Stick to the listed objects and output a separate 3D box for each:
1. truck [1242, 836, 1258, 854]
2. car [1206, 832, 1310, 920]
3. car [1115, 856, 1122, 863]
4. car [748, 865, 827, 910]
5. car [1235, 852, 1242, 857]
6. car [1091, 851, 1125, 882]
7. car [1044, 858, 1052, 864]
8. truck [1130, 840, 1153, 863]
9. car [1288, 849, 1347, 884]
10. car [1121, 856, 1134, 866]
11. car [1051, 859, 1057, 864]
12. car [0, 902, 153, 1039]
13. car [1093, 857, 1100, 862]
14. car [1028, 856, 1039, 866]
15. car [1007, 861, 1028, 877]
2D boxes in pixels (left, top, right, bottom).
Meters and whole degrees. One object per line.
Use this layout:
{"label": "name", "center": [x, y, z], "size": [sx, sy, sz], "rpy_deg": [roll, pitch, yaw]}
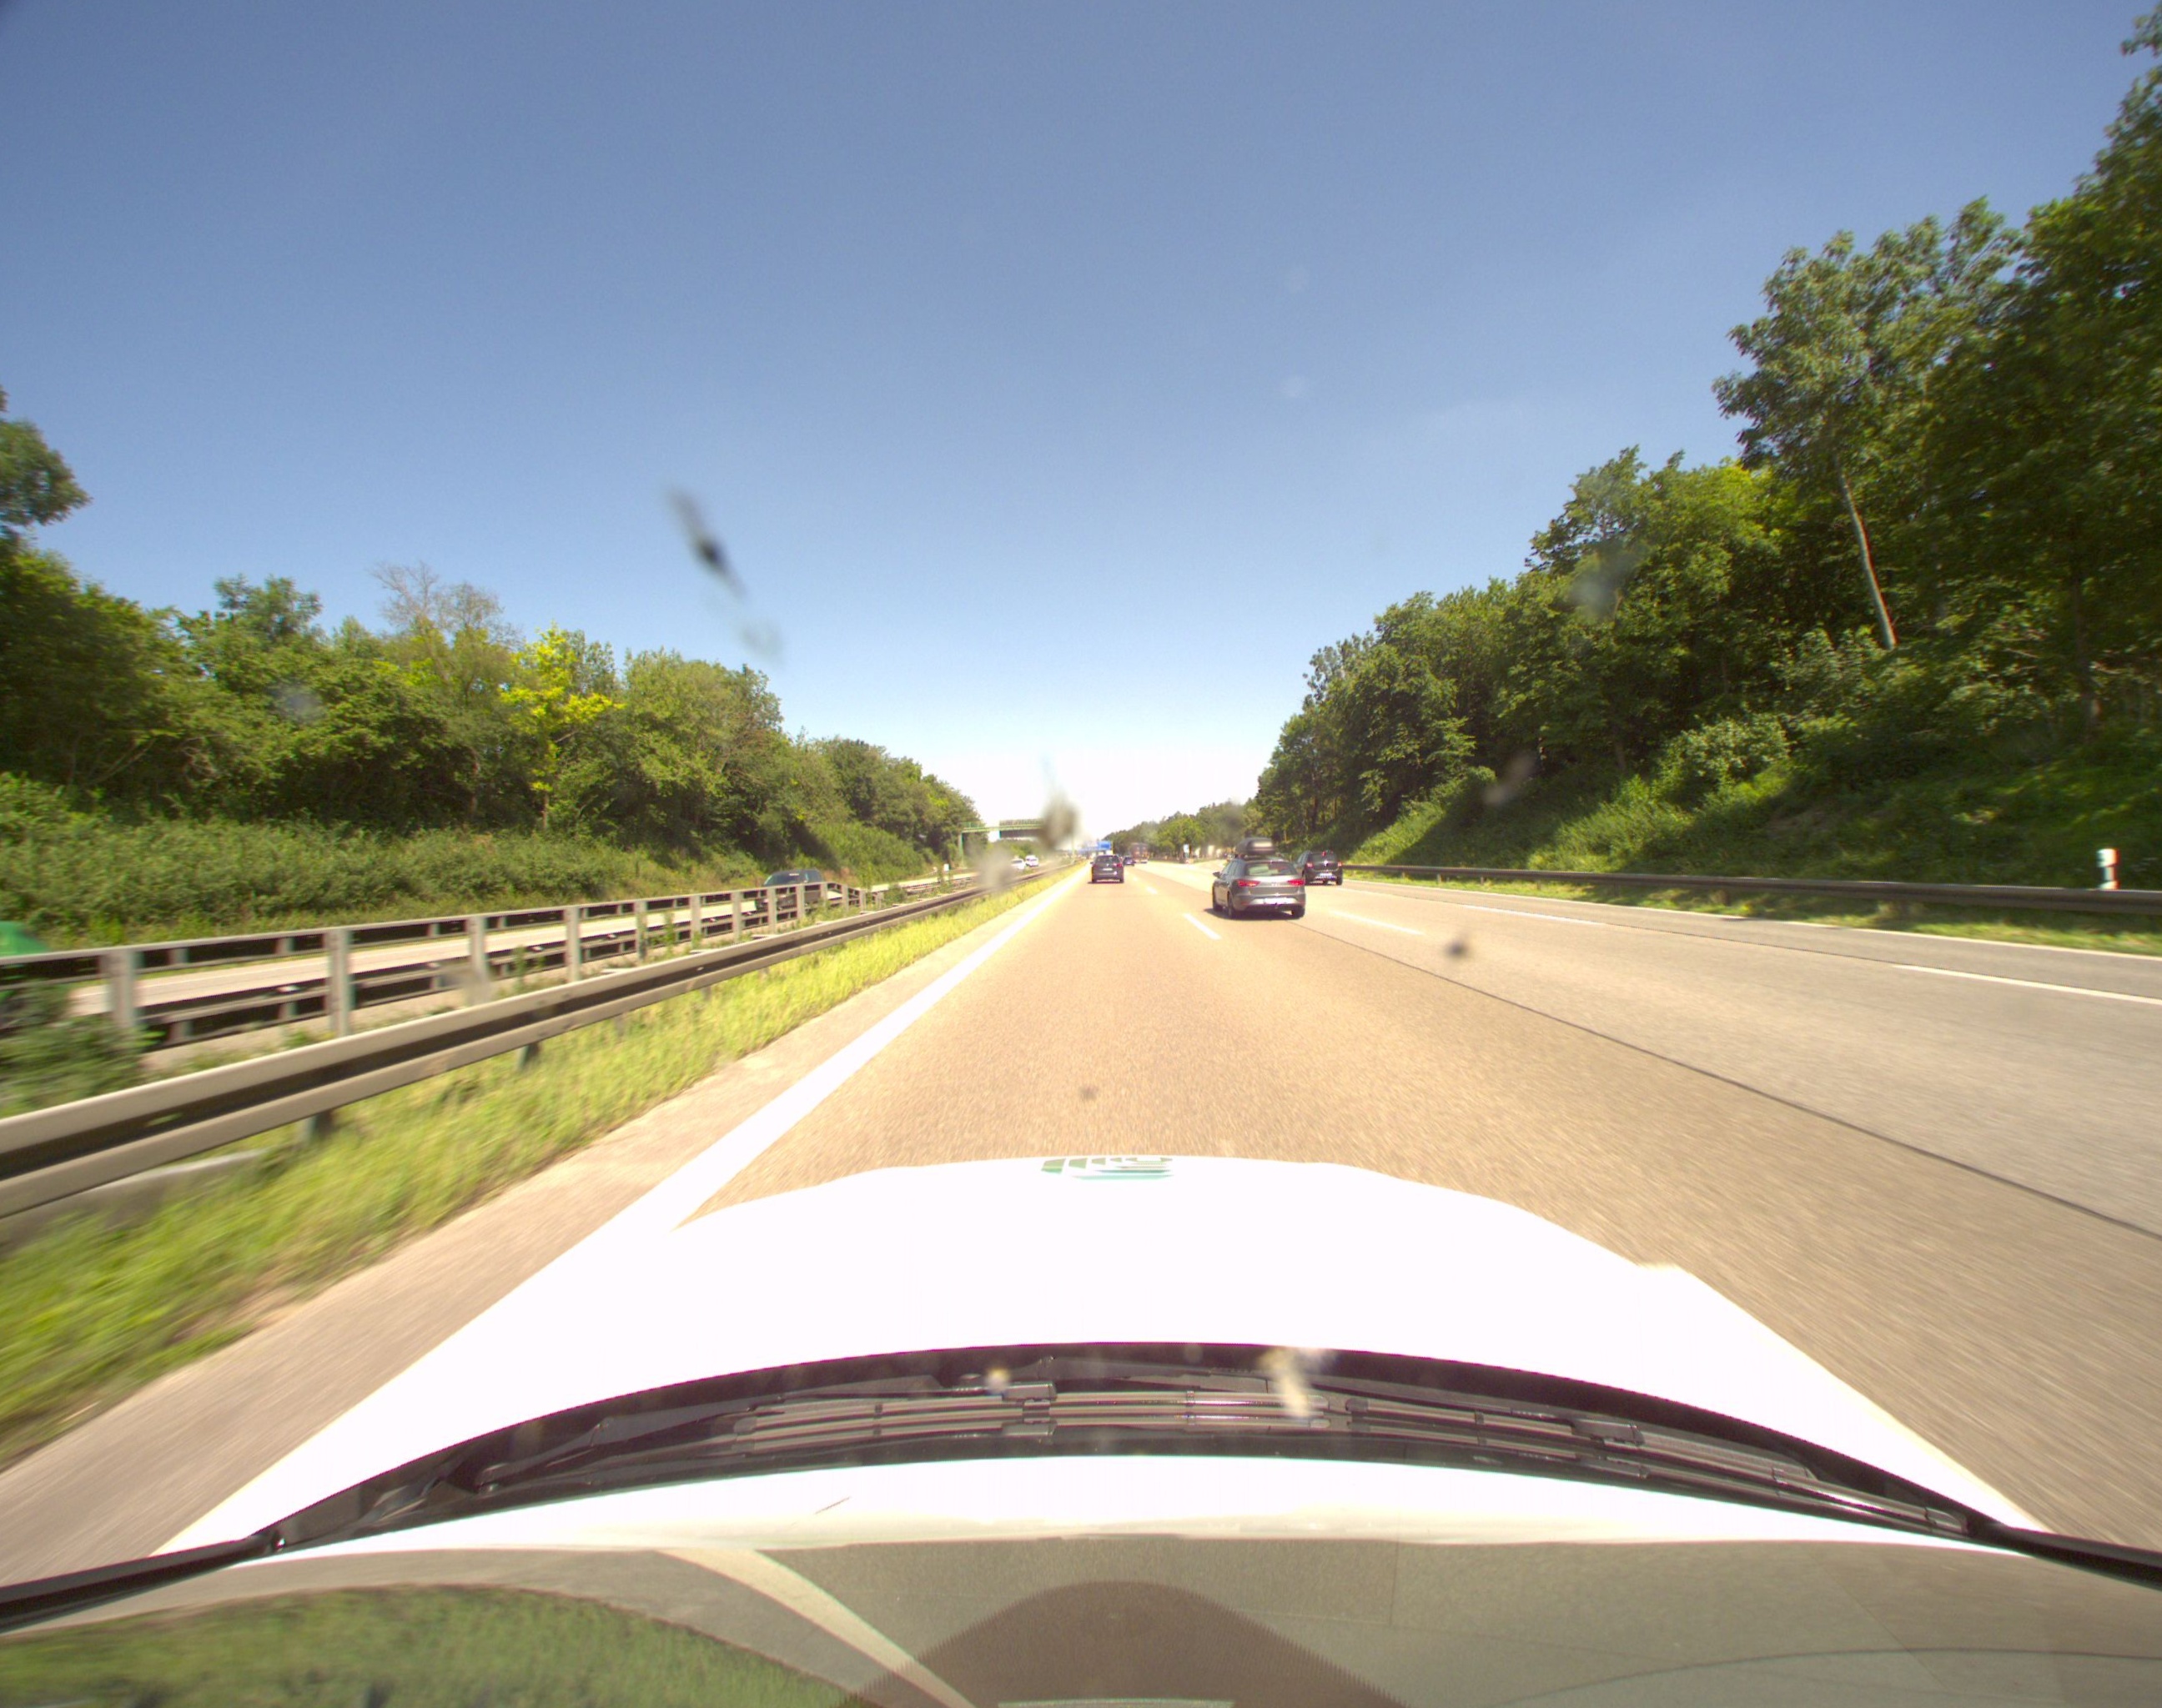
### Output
{"label": "truck", "center": [38.518, -2.073, 185.214], "size": [3.263, 3.947, 9.381], "rpy_deg": [-2, 0, 12]}
{"label": "car", "center": [4.267, 0.476, 20.346], "size": [1.658, 1.876, 4.830], "rpy_deg": [-3, 0, 2]}
{"label": "car", "center": [7.979, 1.168, 174.619], "size": [1.466, 1.398, 3.411], "rpy_deg": [1, 0, 1]}
{"label": "car", "center": [-12.191, 1.361, 34.128], "size": [1.651, 1.617, 3.916], "rpy_deg": [-4, 0, 2]}
{"label": "car", "center": [47.823, 0.154, 247.217], "size": [1.982, 1.574, 4.010], "rpy_deg": [-2, 0, 9]}
{"label": "car", "center": [1.559, 0.656, 46.310], "size": [1.791, 1.669, 4.262], "rpy_deg": [-1, 0, 4]}
{"label": "car", "center": [-9.166, 2.031, 227.539], "size": [1.872, 1.610, 5.311], "rpy_deg": [-4, 0, 1]}
{"label": "truck", "center": [11.912, -0.478, 162.209], "size": [3.767, 4.422, 14.052], "rpy_deg": [-1, 0, 1]}
{"label": "car", "center": [11.060, 0.549, 38.320], "size": [1.757, 1.568, 4.262], "rpy_deg": [-1, 0, 4]}
{"label": "car", "center": [6.709, 0.935, 117.815], "size": [1.757, 1.381, 4.262], "rpy_deg": [-1, 0, 4]}
{"label": "car", "center": [-8.382, 2.379, 256.407], "size": [1.660, 1.464, 3.883], "rpy_deg": [-4, 0, 1]}
{"label": "car", "center": [-13.135, 1.421, 8.554], "size": [1.651, 1.478, 4.322], "rpy_deg": [-4, 0, 2]}
{"label": "car", "center": [3.399, 1.238, 182.898], "size": [1.466, 1.227, 3.411], "rpy_deg": [-2, 0, 1]}
{"label": "car", "center": [-9.491, 1.359, 164.161], "size": [1.740, 1.830, 5.170], "rpy_deg": [-4, 0, 1]}
{"label": "car", "center": [-7.032, 1.613, 90.239], "size": [1.805, 1.617, 3.916], "rpy_deg": [-4, 0, 2]}
